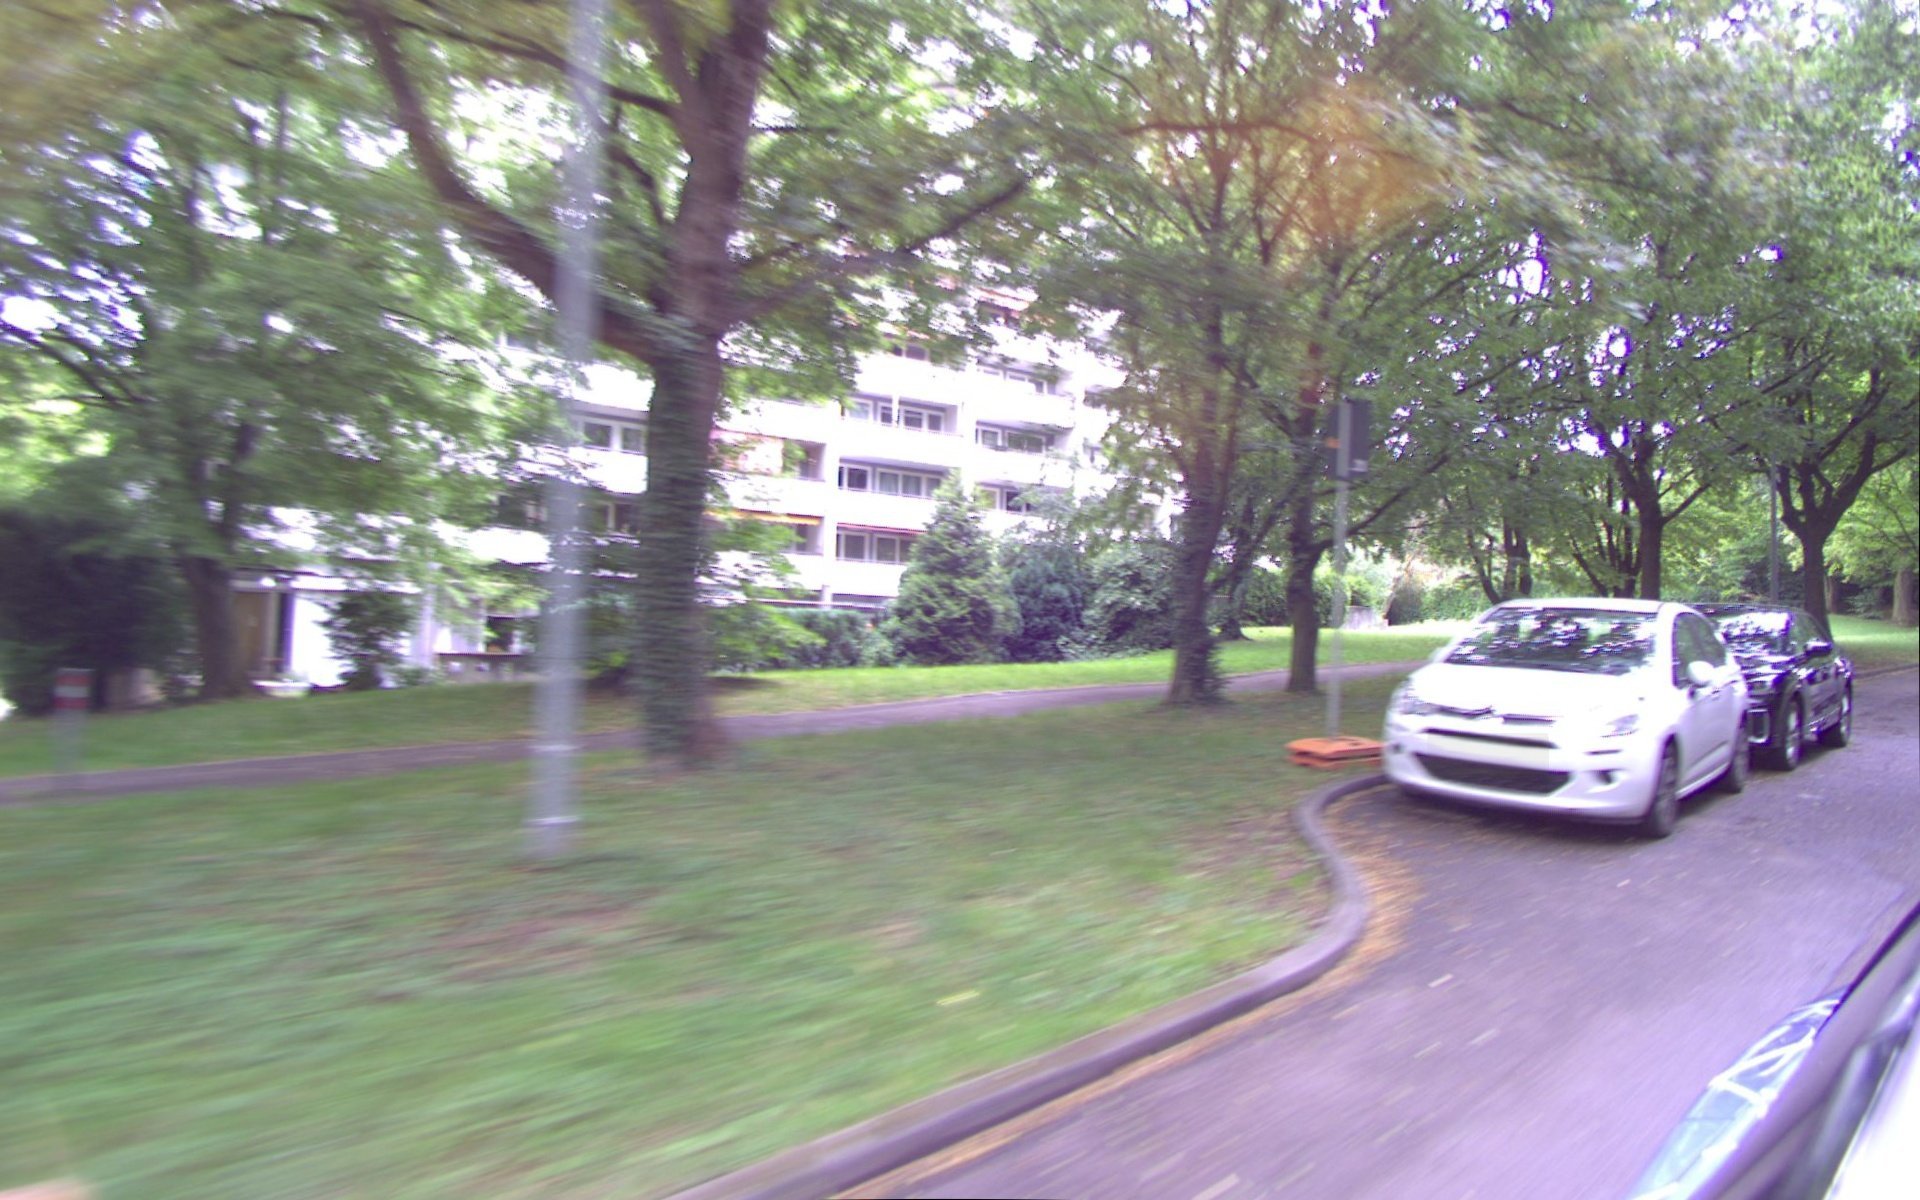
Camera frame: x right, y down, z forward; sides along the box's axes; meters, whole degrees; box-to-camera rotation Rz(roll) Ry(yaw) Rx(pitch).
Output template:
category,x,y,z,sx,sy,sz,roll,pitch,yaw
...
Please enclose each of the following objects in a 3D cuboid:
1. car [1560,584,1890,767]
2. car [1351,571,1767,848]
category,x,y,z,sx,sy,sz,roll,pitch,yaw
car,8.045,0.657,10.516,4.107,1.542,1.778,1,-1,-39
car,4.631,0.631,7.599,3.718,1.542,1.775,1,-1,-44
